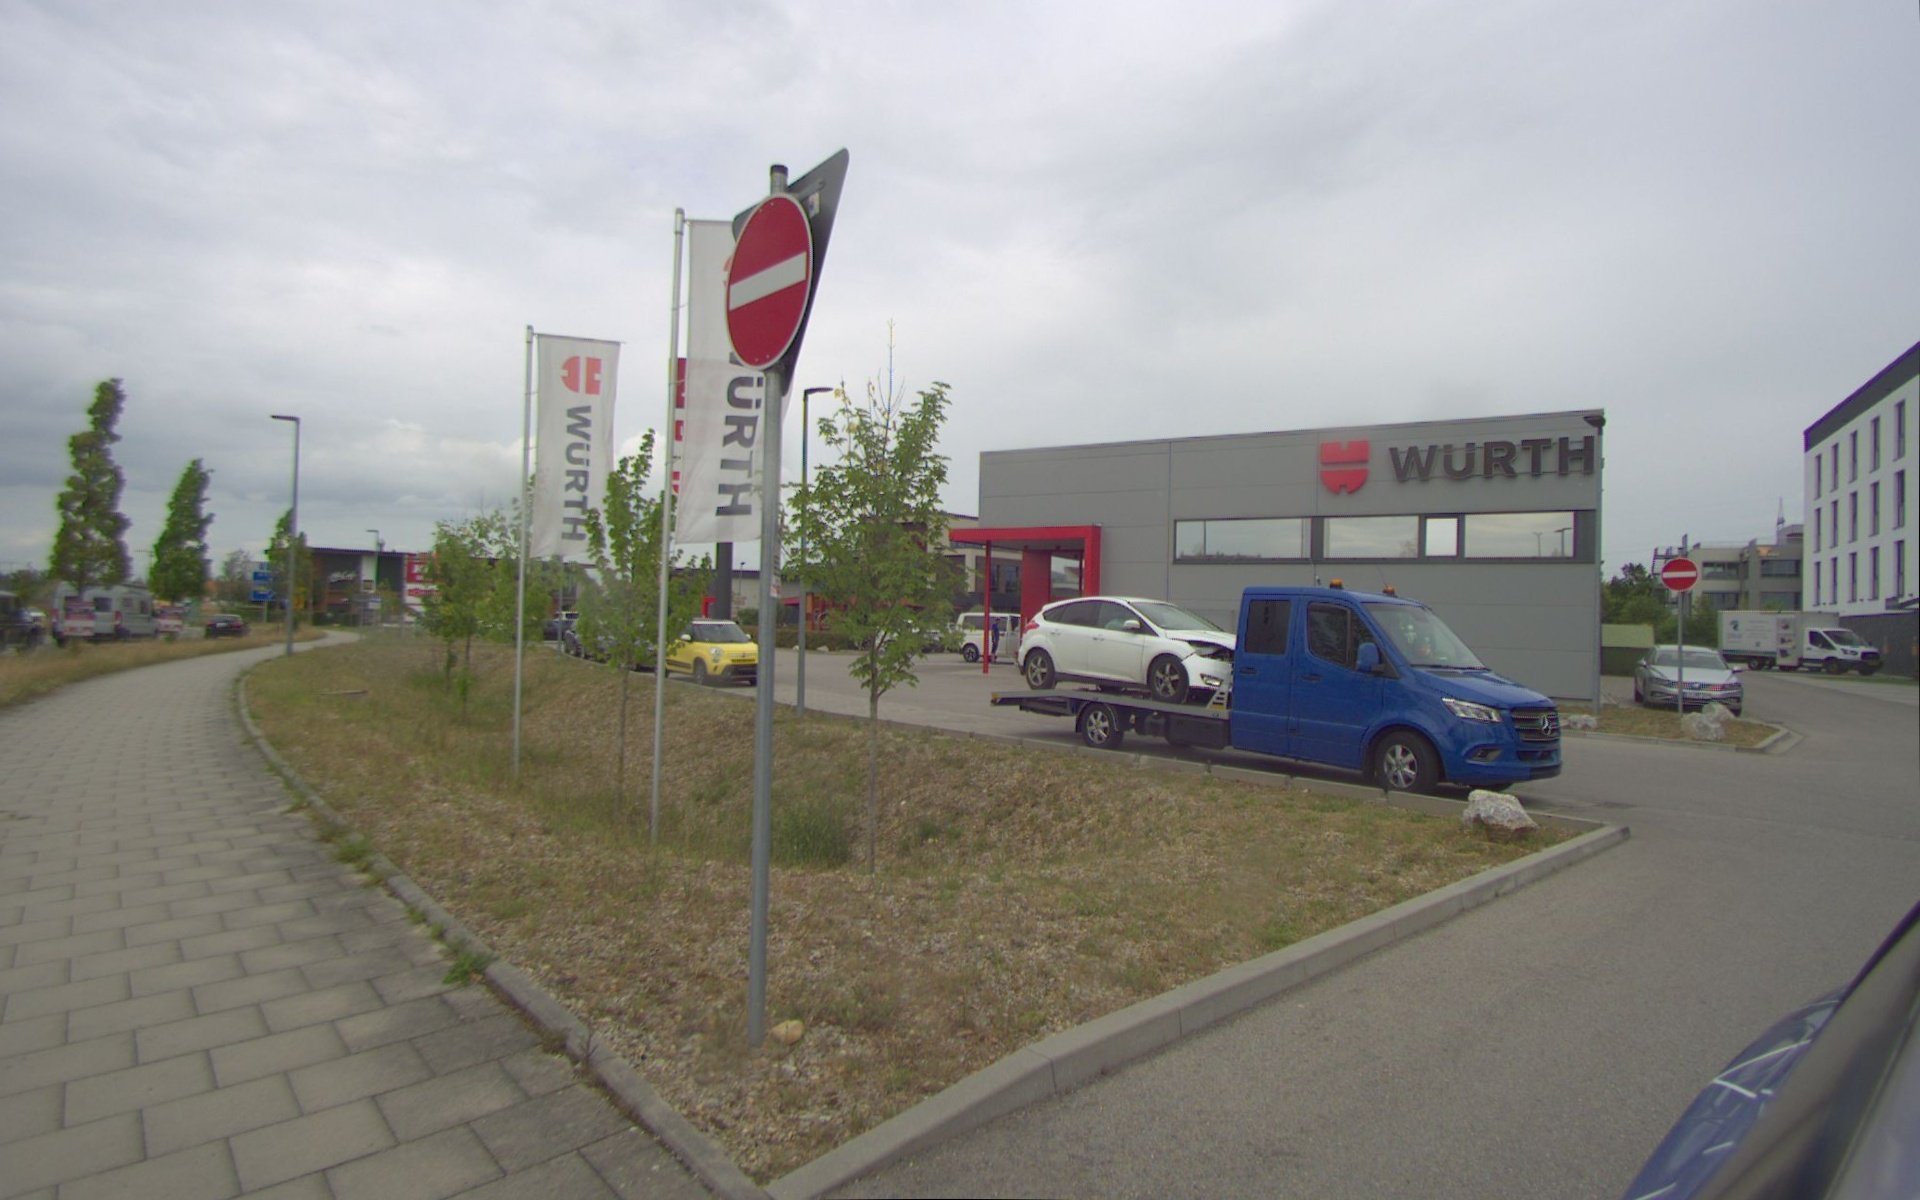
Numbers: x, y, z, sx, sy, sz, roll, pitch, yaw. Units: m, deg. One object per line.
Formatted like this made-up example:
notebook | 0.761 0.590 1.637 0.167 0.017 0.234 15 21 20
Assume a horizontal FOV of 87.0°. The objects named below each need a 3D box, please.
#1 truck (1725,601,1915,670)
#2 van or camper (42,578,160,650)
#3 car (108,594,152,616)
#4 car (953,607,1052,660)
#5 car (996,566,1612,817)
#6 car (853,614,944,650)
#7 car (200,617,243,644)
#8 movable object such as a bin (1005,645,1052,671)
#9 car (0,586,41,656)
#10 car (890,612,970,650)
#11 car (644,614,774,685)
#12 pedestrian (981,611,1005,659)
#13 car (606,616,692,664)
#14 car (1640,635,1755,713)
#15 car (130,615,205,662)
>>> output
truck | 40.796 1.597 48.392 2.387 3.055 7.078 1 -1 -8
van or camper | -33.557 0.572 39.759 2.151 2.574 6.173 2 -2 -28
car | -55.553 0.322 67.793 1.740 1.402 4.152 1 -1 -32
car | 1.674 1.301 40.292 3.648 2.004 1.656 0 -1 33
car | 3.766 0.850 13.317 2.160 2.352 7.854 2 -1 -36
car | -3.284 1.675 53.221 4.709 1.771 1.737 0 -1 34
car | -41.209 1.666 56.500 1.464 1.403 3.345 1 -1 -29
movable object such as a bin | 2.100 1.761 30.834 0.797 0.725 1.566 0 -2 32
car | -28.396 0.585 29.010 1.960 1.948 4.852 2 -2 -30
car | -1.656 1.679 55.696 3.972 1.883 1.975 1 -1 34
car | -6.731 1.235 26.866 1.721 1.705 4.294 1 -1 -39
pedestrian | 1.274 1.350 39.006 0.654 1.831 0.641 1 -1 34
car | -10.036 1.241 32.500 1.709 1.379 4.002 1 -1 -31
car | 17.517 1.660 23.985 1.971 1.510 4.704 3 0 38
car | -30.162 1.427 38.608 1.651 1.698 3.509 1 -1 -29
